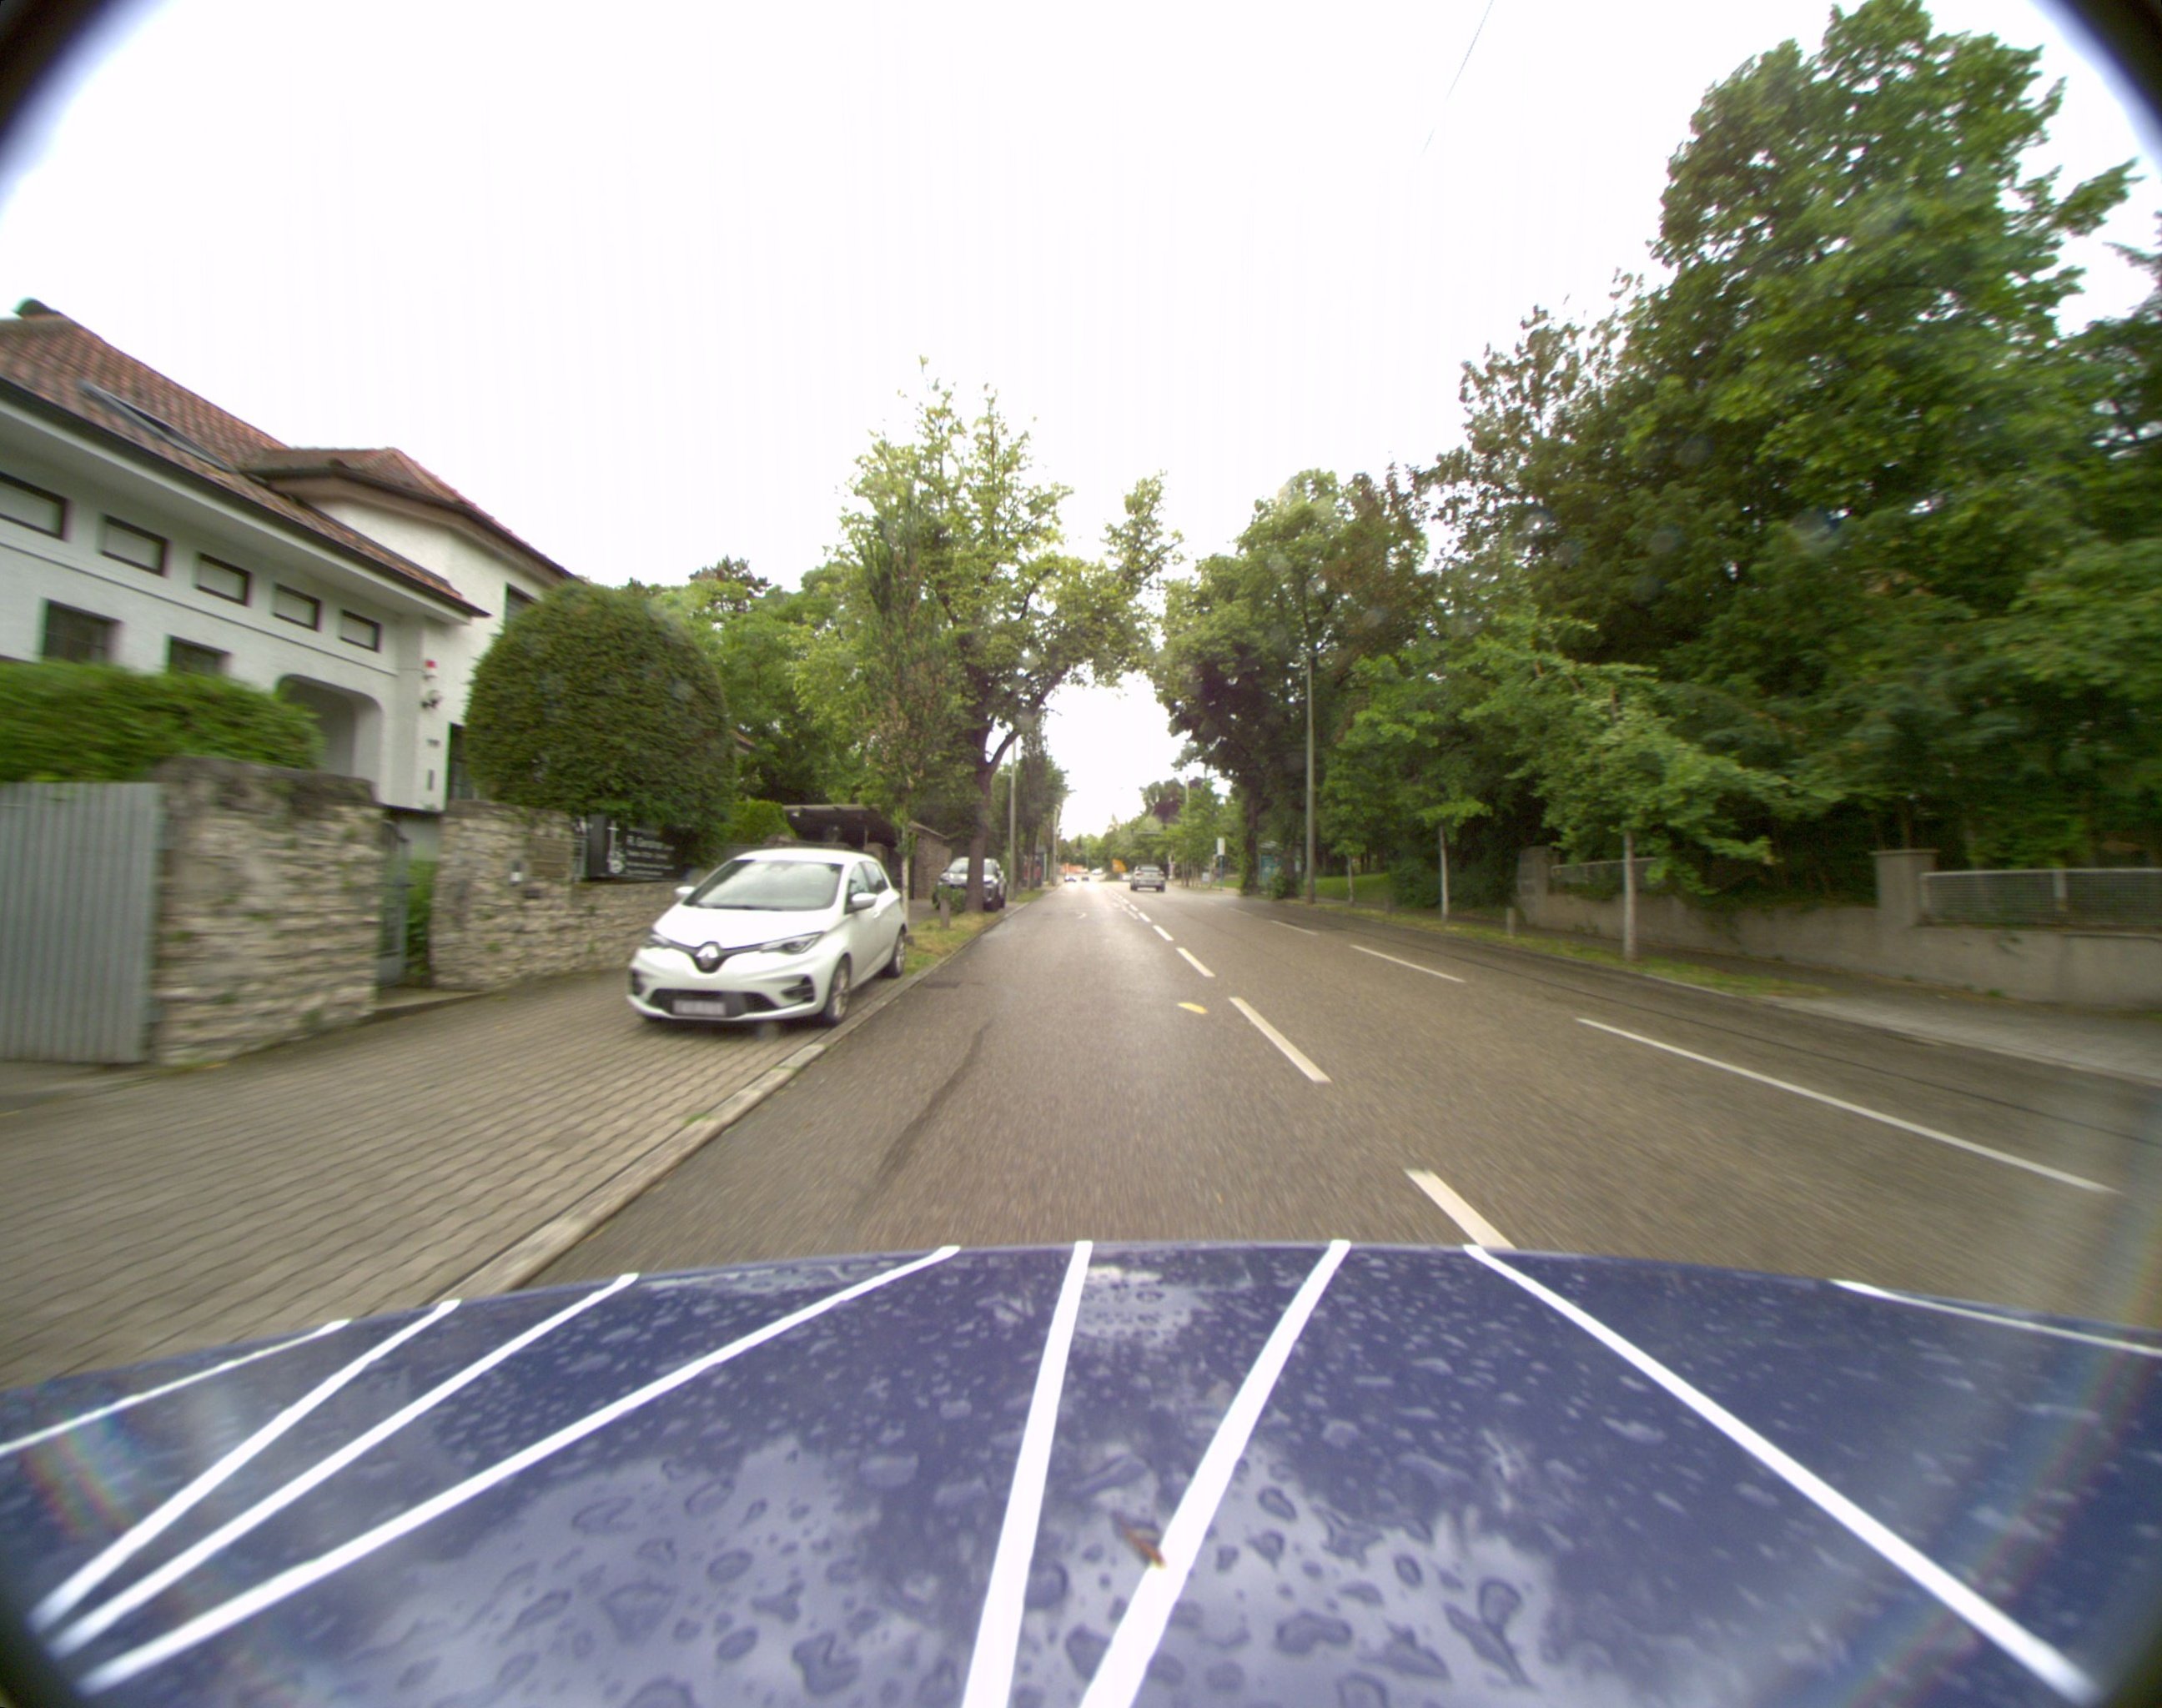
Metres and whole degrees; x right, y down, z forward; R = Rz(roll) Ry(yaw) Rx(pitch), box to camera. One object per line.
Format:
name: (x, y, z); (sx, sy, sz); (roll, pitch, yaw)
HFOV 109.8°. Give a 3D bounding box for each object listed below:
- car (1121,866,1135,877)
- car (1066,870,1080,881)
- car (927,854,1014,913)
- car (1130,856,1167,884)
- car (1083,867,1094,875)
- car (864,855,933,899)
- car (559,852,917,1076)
car: (7.167, 2.597, 115.484); (1.876, 1.539, 4.001); (3, -1, 1)
car: (-1.350, 3.696, 131.387); (1.998, 1.674, 4.001); (-2, -1, 3)
car: (-3.244, 0.872, 23.179); (1.923, 1.558, 4.221); (2, -2, 1)
car: (3.862, 0.899, 44.238); (1.798, 1.500, 4.093); (0, 1, 0)
car: (1.787, 4.093, 181.984); (1.878, 1.540, 3.996); (2, 0, -10)
car: (-7.178, 0.916, 30.253); (1.601, 1.521, 4.155); (-4, -2, 0)
car: (-3.011, 0.827, 7.719); (1.829, 1.620, 3.999); (2, 0, -1)
